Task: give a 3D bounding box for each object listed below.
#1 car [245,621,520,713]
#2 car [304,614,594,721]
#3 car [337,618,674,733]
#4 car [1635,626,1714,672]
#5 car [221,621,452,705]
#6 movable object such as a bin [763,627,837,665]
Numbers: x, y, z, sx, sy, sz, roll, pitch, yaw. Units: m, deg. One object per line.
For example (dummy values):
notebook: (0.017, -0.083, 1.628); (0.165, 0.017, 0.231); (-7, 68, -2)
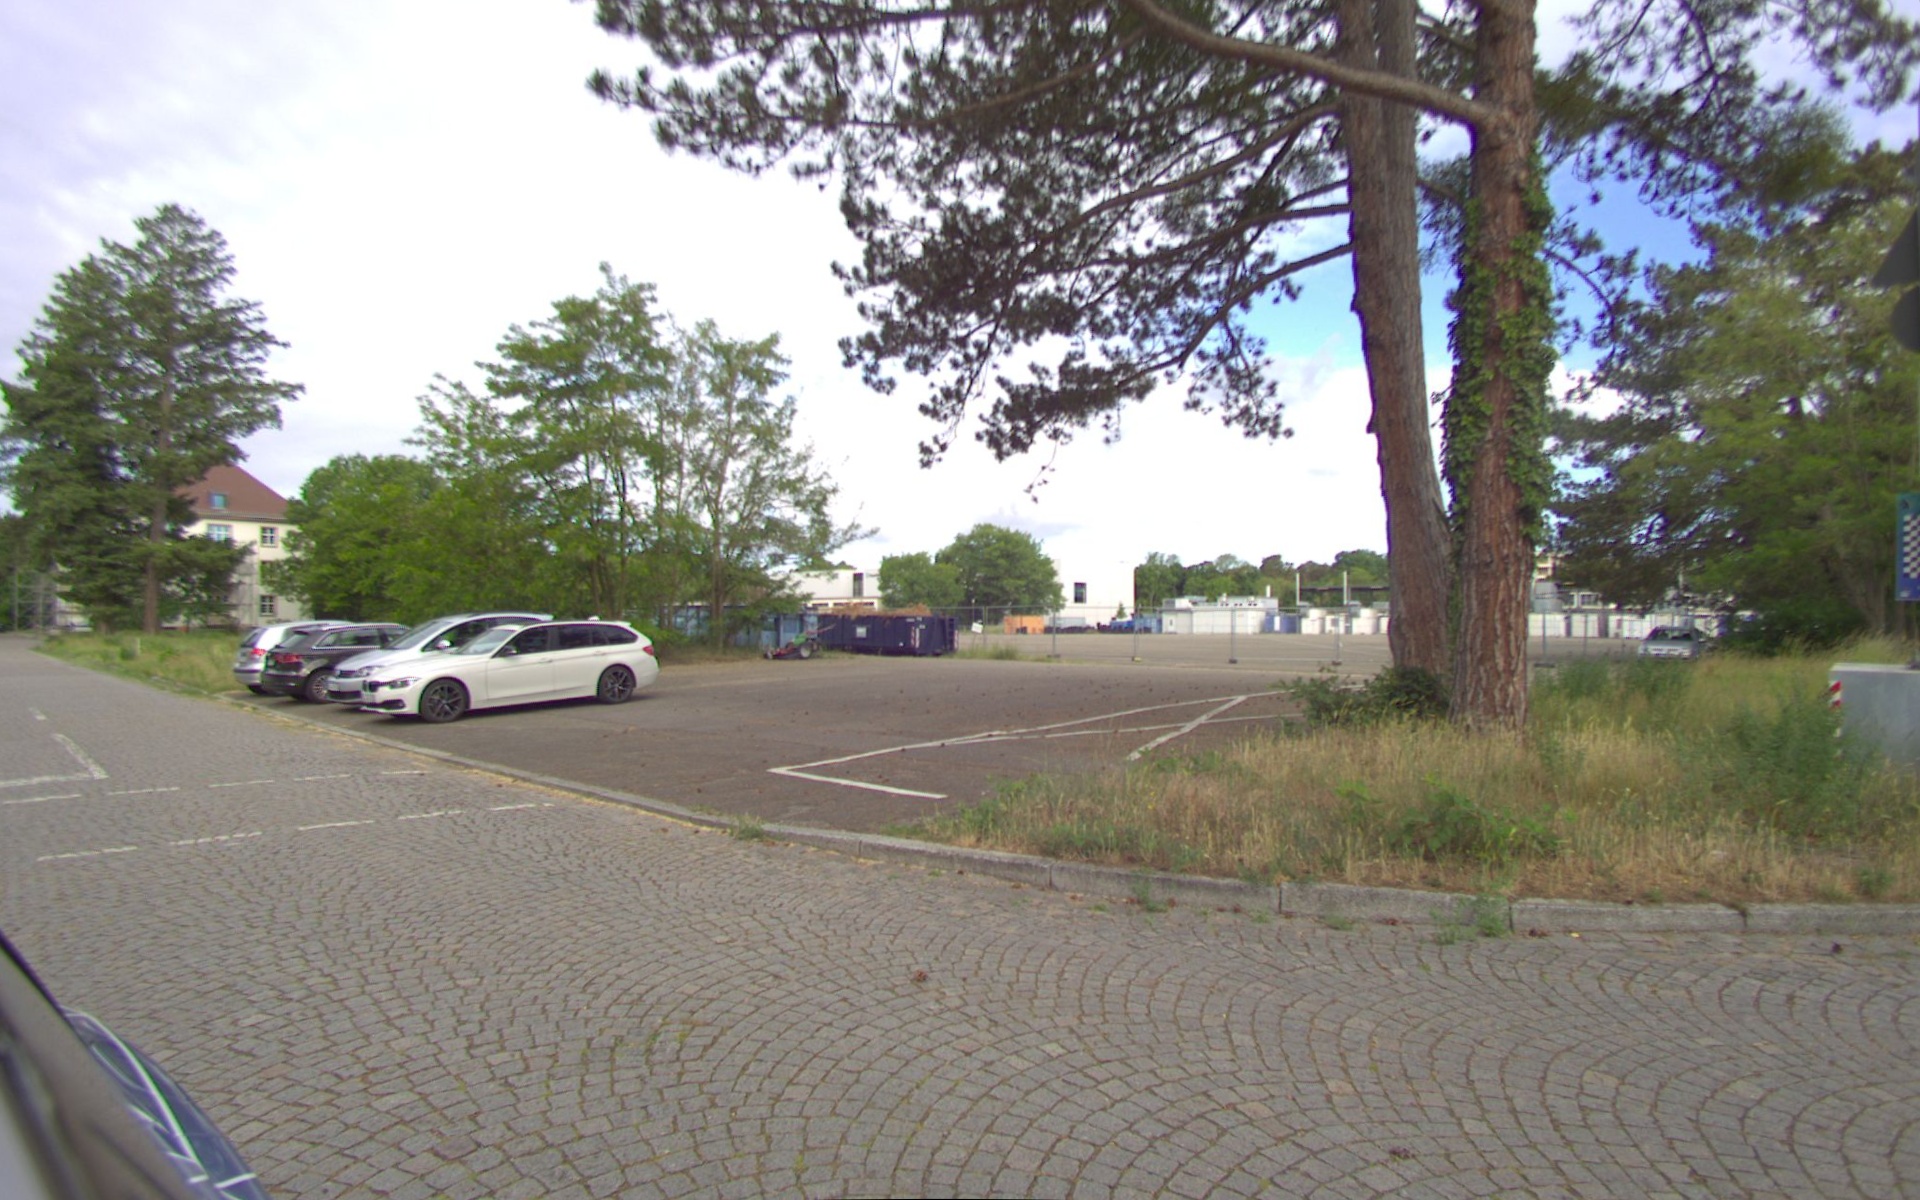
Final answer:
car: (-11.254, 1.229, 19.968); (1.722, 1.435, 4.387); (-1, 0, 43)
car: (-9.122, 1.114, 18.371); (1.871, 1.610, 4.320); (-1, 0, 39)
car: (-7.272, 1.120, 16.610); (1.866, 1.499, 4.688); (-3, -1, 42)
car: (25.442, 1.698, 35.993); (1.736, 1.443, 4.102); (-1, -1, 43)
car: (-13.280, 1.272, 21.725); (1.584, 1.481, 3.908); (-1, 0, 41)
movable object such as a bin: (-5.022, 1.453, 31.917); (0.858, 1.134, 2.236); (-1, -3, 43)
